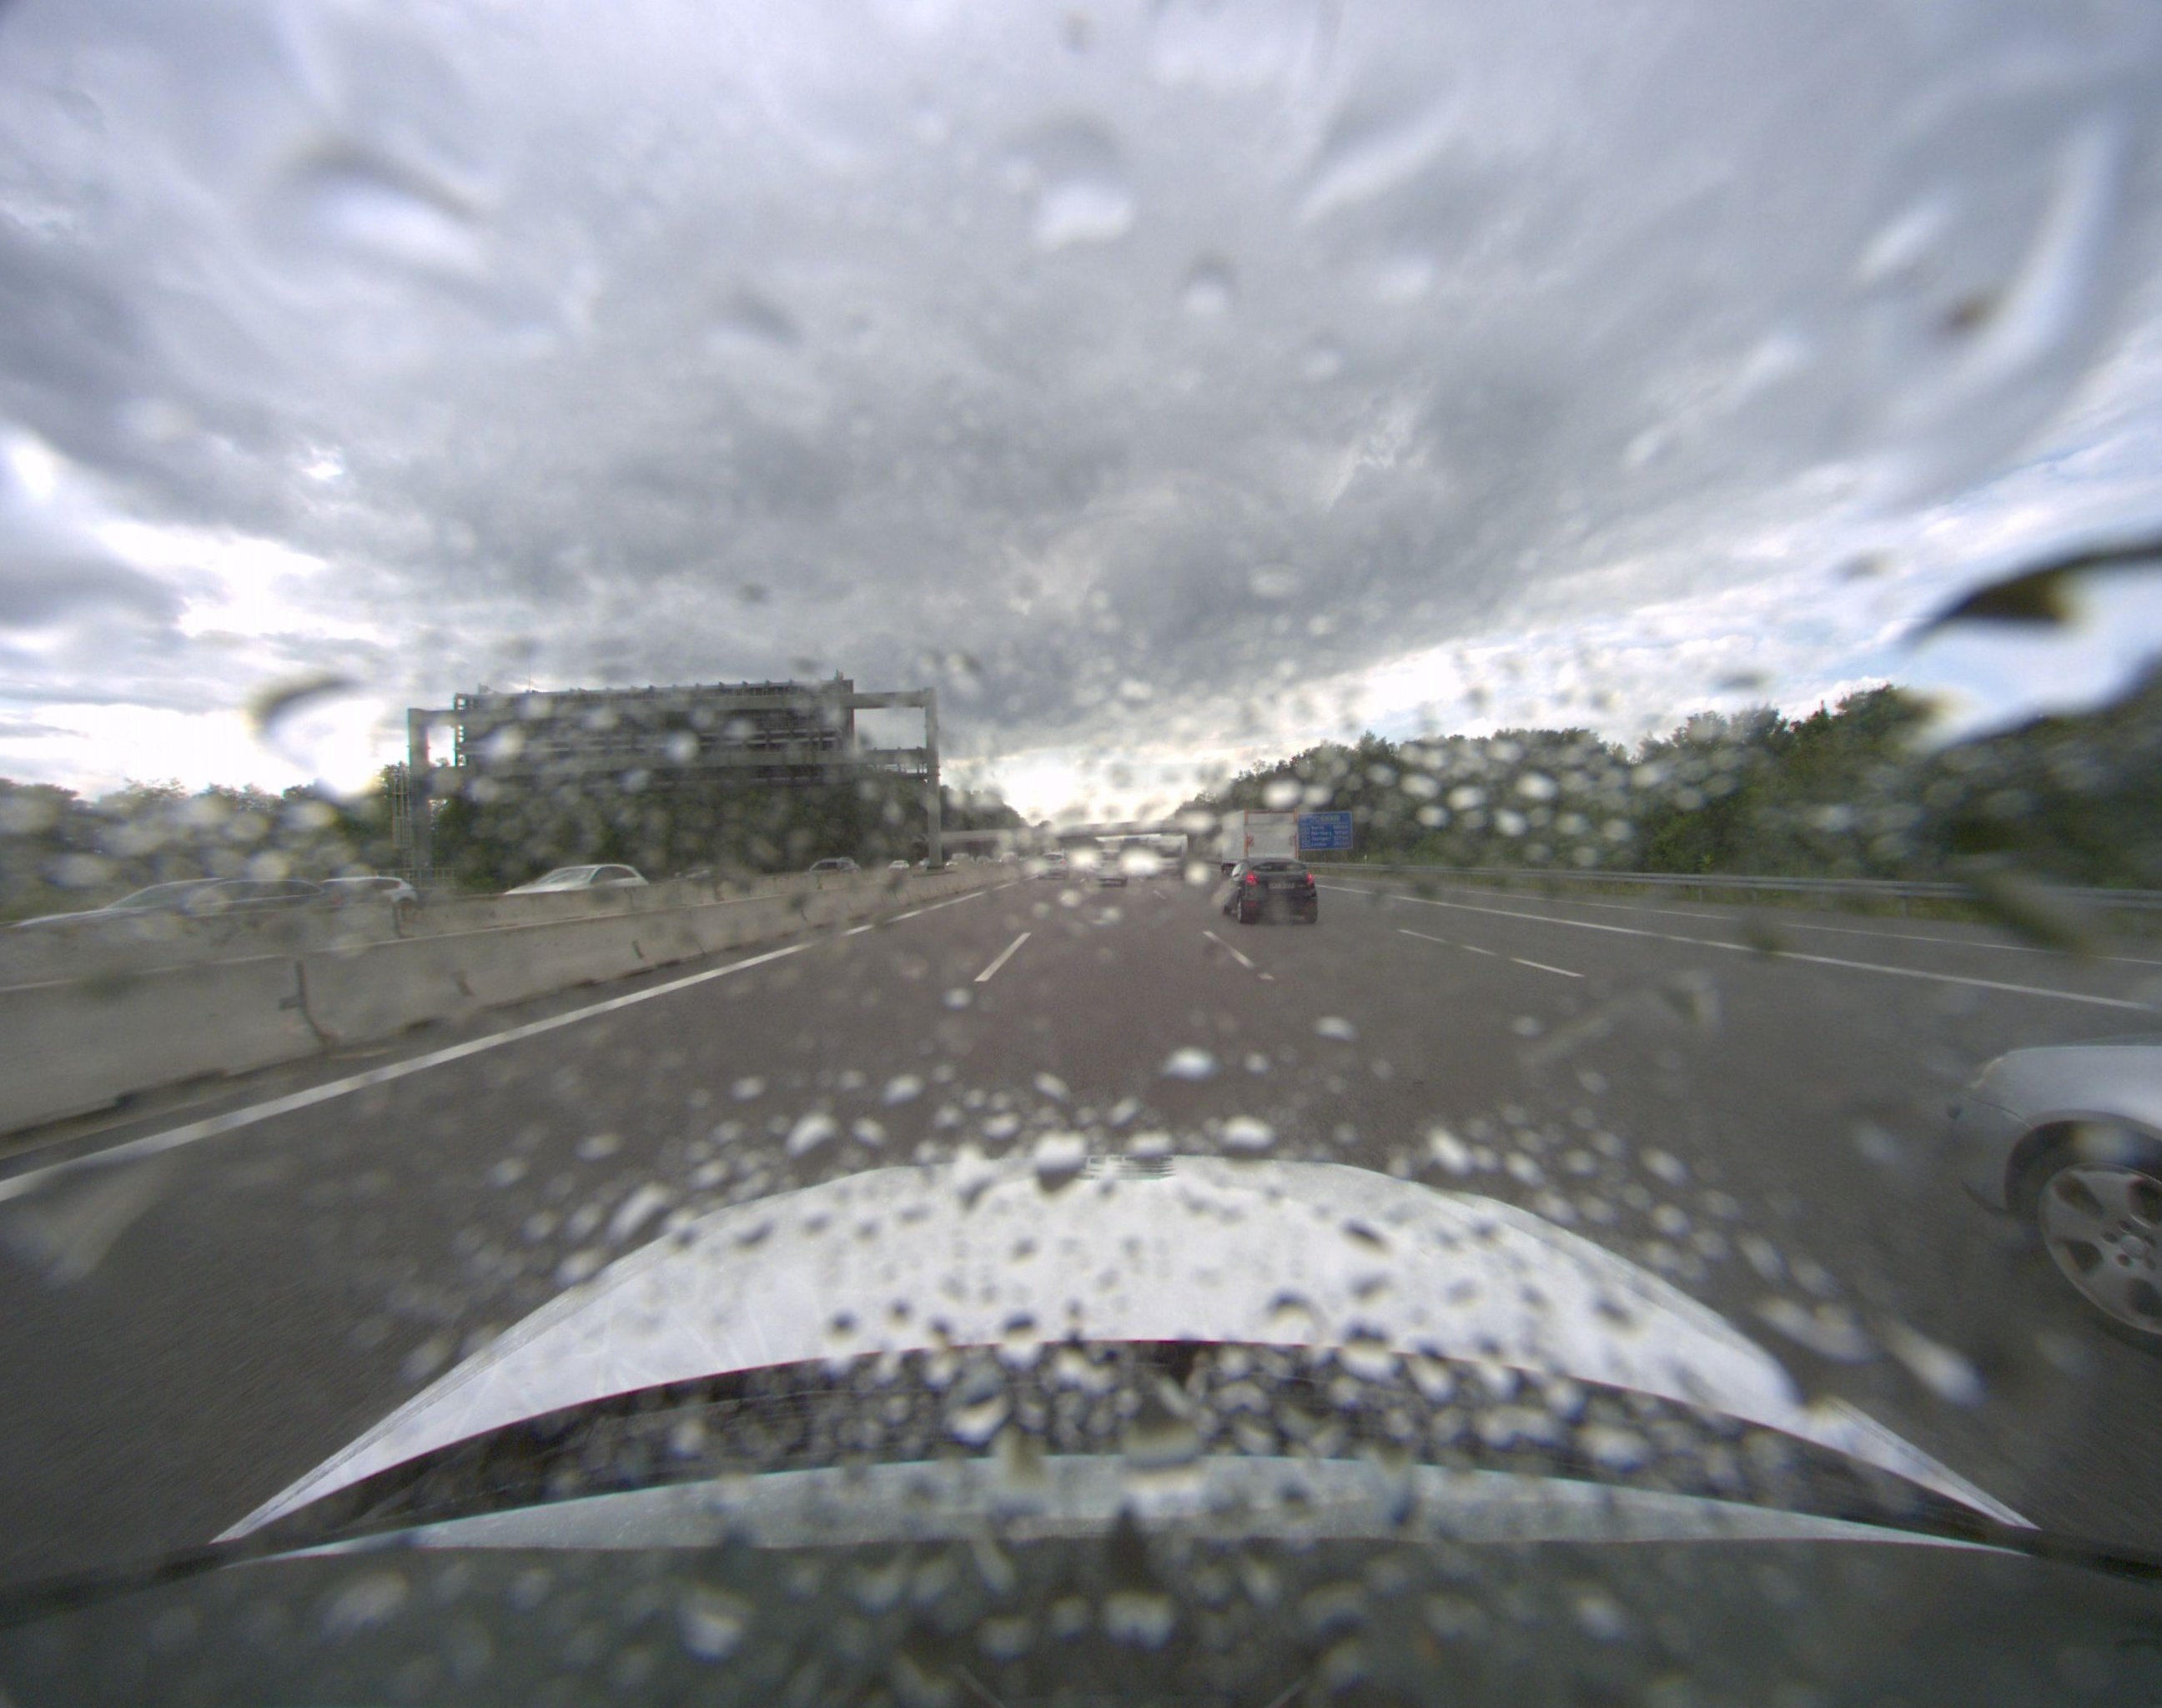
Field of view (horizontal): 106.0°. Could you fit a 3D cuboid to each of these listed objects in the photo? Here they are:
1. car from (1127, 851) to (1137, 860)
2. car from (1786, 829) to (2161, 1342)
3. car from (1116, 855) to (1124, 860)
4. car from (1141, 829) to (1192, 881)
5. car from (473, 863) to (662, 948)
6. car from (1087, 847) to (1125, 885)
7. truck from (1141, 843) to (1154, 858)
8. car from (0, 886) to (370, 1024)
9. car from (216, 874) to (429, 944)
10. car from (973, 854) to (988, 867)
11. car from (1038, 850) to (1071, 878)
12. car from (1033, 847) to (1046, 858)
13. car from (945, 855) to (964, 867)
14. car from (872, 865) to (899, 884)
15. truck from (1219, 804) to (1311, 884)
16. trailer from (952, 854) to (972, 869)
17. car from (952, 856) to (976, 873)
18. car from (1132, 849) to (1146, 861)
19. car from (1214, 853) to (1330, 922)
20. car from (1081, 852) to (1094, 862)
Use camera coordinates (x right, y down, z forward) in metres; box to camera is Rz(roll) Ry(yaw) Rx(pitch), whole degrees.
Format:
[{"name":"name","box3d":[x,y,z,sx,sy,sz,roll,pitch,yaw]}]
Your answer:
[{"name":"car","box3d":[11.247,0.360,179.895,2.035,1.823,4.907,-1,0,2]},{"name":"car","box3d":[3.986,0.656,1.585,1.789,1.477,4.038,-1,0,1]},{"name":"car","box3d":[11.330,1.004,237.018,1.876,1.686,3.998,-1,0,-1]},{"name":"car","box3d":[5.175,0.048,50.240,2.557,2.895,7.537,-1,0,2]},{"name":"car","box3d":[-13.054,1.223,21.087,1.986,1.891,4.364,-1,0,2]},{"name":"car","box3d":[1.276,0.553,40.070,1.773,1.716,4.356,-1,0,3]},{"name":"truck","box3d":[16.930,-0.809,206.798,2.894,3.810,7.278,-1,0,2]},{"name":"car","box3d":[-17.038,1.735,15.742,1.986,2.013,5.100,-1,0,2]},{"name":"car","box3d":[-24.845,1.726,27.008,2.421,1.952,4.831,-1,0,2]},{"name":"car","box3d":[-16.587,1.078,135.053,1.810,2.013,4.002,-1,0,2]},{"name":"car","box3d":[-1.675,0.614,52.450,1.808,1.689,4.853,-1,0,1]},{"name":"car","box3d":[-7.785,-0.282,154.491,1.986,2.181,5.292,-1,0,2]},{"name":"car","box3d":[-20.153,1.096,130.244,1.986,1.952,5.228,-1,0,2]},{"name":"car","box3d":[-22.349,2.367,93.245,1.901,2.013,4.564,-1,0,2]},{"name":"truck","box3d":[9.419,-0.469,42.979,3.120,3.709,9.855,-1,0,3]},{"name":"trailer","box3d":[-19.778,1.251,135.716,2.233,2.375,5.787,-1,0,2]},{"name":"car","box3d":[-14.503,1.251,101.139,1.985,2.013,4.767,-1,0,2]},{"name":"car","box3d":[9.634,0.139,135.505,2.035,1.823,4.907,-1,0,2]},{"name":"car","box3d":[4.325,0.698,19.082,1.877,1.407,4.285,-1,0,2]},{"name":"car","box3d":[1.041,0.491,125.561,1.774,1.481,4.355,-1,0,2]}]
